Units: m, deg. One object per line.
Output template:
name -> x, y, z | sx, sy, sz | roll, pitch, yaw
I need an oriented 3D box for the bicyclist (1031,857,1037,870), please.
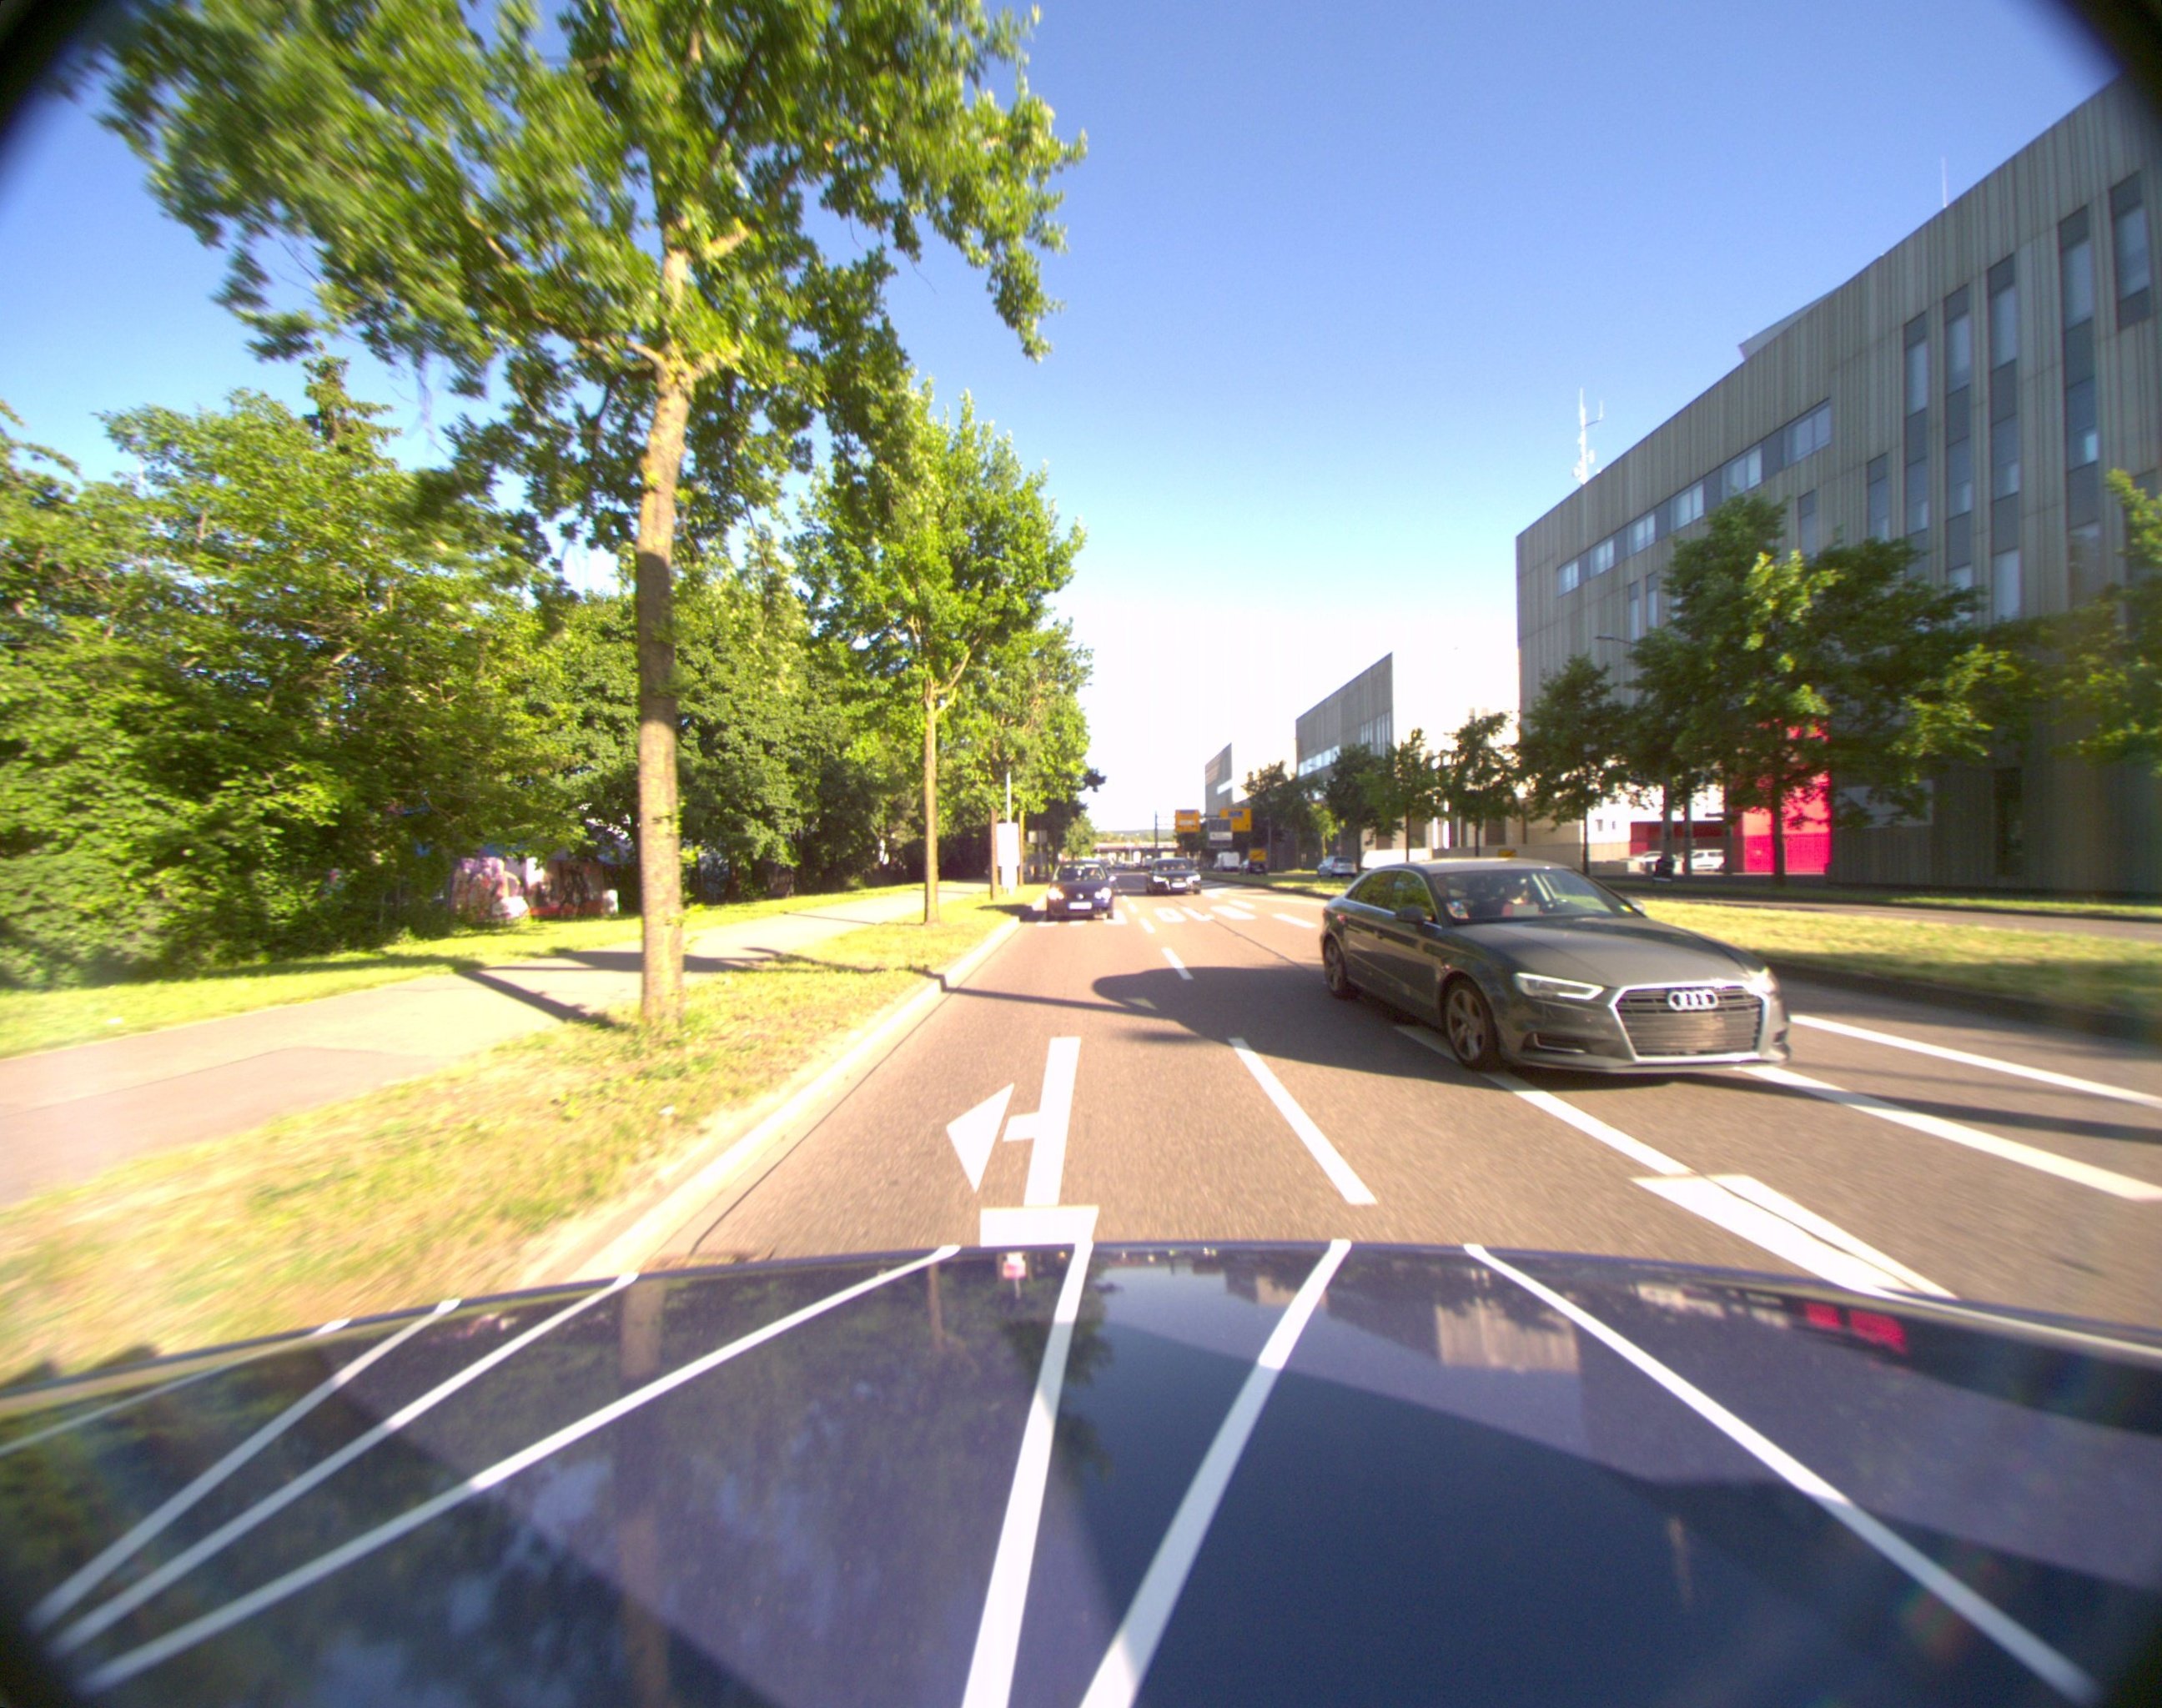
bicyclist -> -5.769, 1.182, 94.119 | 0.686, 1.513, 1.036 | -1, 0, -2

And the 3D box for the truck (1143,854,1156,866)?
truck -> 17.065, 1.575, 190.293 | 2.692, 2.943, 7.116 | 1, -1, 2

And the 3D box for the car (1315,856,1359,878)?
car -> 17.918, 0.905, 53.348 | 1.693, 1.467, 4.049 | -1, 0, -1

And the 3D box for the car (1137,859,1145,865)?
car -> 16.507, 2.299, 210.456 | 1.828, 1.672, 4.659 | 1, 0, 1

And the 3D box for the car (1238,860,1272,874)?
car -> 14.504, 1.044, 63.652 | 1.832, 1.105, 4.174 | -1, 0, -1

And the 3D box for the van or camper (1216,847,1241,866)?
van or camper -> 18.146, 0.328, 93.912 | 1.998, 2.354, 5.994 | 1, -1, 1

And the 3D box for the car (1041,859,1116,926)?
car -> -0.037, 0.920, 19.708 | 1.702, 1.474, 4.052 | -2, 0, 1

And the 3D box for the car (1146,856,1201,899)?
car -> 3.584, 0.878, 30.037 | 1.702, 1.528, 3.947 | -2, 0, 1

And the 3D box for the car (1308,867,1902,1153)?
car -> 3.390, 0.845, 6.142 | 1.702, 1.396, 4.365 | -2, 0, -1

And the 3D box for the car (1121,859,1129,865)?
car -> 12.128, 2.182, 209.789 | 1.828, 1.672, 4.659 | 1, 0, 1

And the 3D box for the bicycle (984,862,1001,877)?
bicycle -> -6.499, 1.130, 56.088 | 0.775, 1.124, 1.710 | -1, 0, 9

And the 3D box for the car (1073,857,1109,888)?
car -> 0.494, 0.898, 38.478 | 1.702, 1.478, 3.947 | -1, 0, 1
